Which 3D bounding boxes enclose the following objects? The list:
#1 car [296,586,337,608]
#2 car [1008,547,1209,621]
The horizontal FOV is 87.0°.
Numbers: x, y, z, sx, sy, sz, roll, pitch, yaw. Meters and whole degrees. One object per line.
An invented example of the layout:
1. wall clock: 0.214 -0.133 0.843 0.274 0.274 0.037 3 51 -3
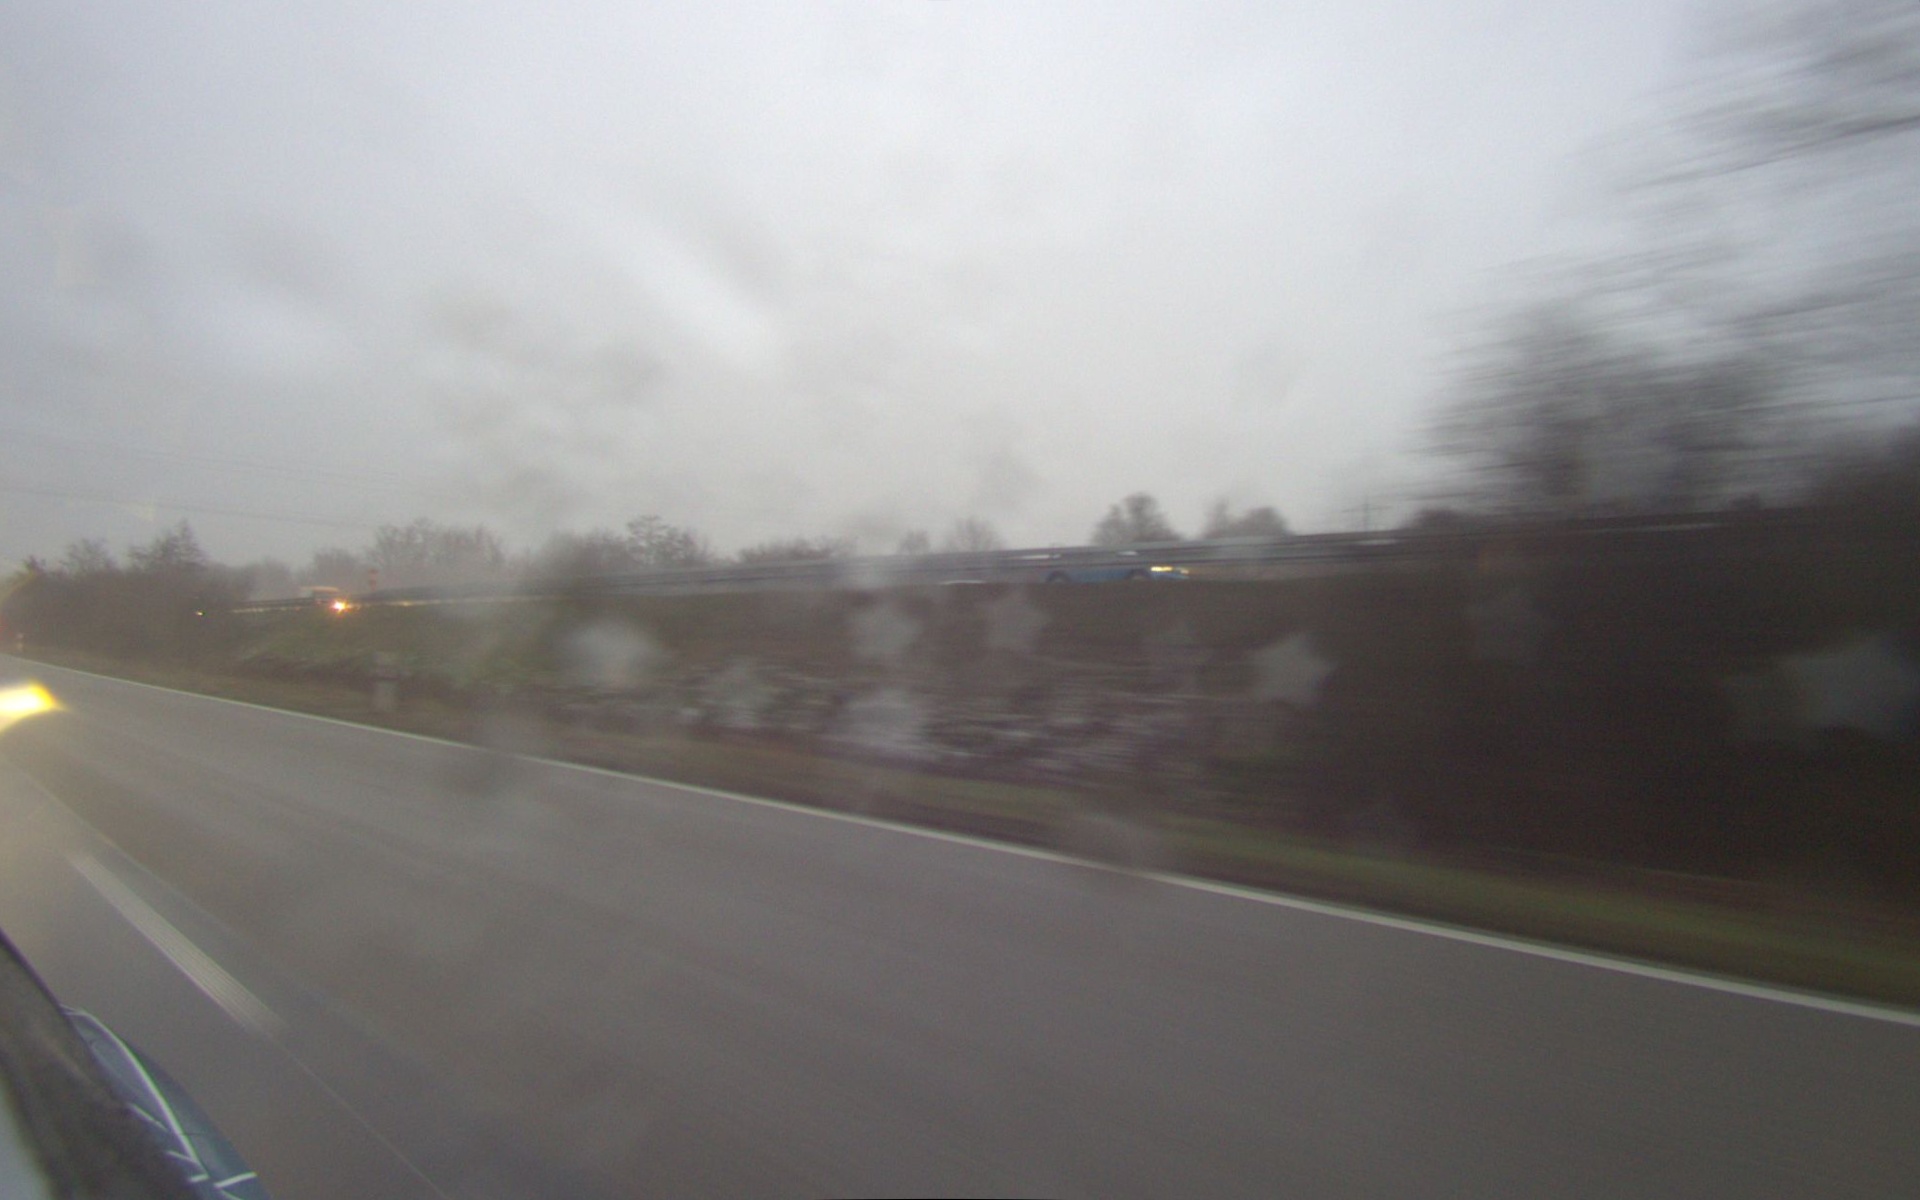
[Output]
1. car: -53.200 -0.253 83.667 4.108 1.725 1.704 -1 -1 41
2. car: 4.349 -0.402 30.269 5.601 2.029 2.288 -1 -1 41
